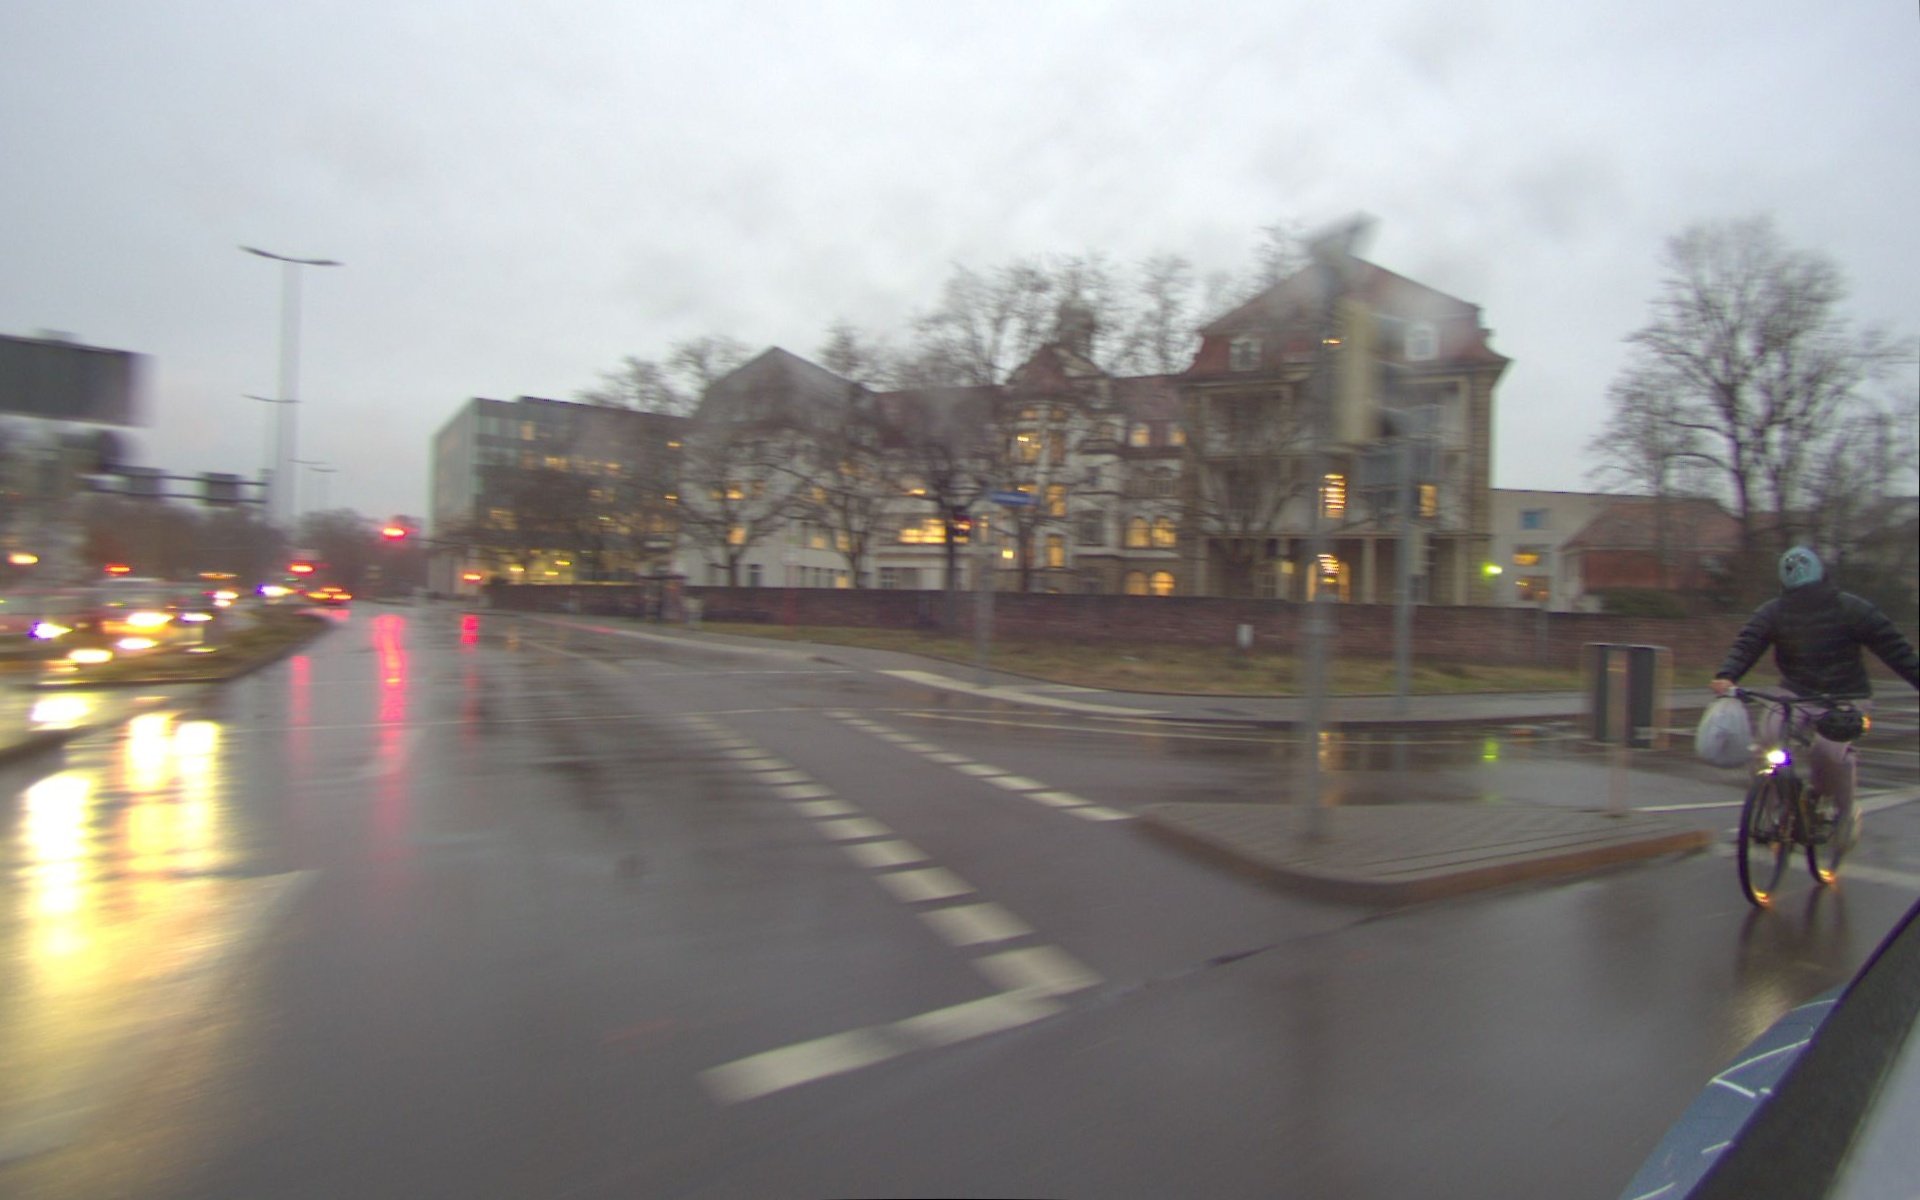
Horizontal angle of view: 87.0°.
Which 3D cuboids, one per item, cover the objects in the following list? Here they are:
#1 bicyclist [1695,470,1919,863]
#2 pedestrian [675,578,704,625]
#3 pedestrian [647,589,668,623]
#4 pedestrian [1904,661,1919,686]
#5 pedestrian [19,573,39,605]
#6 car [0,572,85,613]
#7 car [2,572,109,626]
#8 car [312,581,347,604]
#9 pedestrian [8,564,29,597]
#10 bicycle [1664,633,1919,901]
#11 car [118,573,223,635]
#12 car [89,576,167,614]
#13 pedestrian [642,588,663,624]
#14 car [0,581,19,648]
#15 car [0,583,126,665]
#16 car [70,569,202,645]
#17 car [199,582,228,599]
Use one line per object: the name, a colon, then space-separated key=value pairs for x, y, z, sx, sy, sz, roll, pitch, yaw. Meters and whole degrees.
bicyclist: x=4.951 y=0.318 z=5.606 sx=1.211 sy=1.907 sz=1.028 roll=0 pitch=0 yaw=-30
pedestrian: x=-10.887 y=0.067 z=40.745 sx=0.793 sy=1.853 sz=0.948 roll=2 pitch=0 yaw=-34
pedestrian: x=-16.631 y=0.319 z=55.590 sx=0.793 sy=1.853 sz=0.948 roll=2 pitch=0 yaw=-34
pedestrian: x=37.985 y=2.807 z=38.320 sx=3.069 sy=0.942 sz=0.939 roll=-1 pitch=-3 yaw=27
pedestrian: x=-60.546 y=-0.706 z=65.812 sx=0.751 sy=2.039 sz=0.774 roll=2 pitch=0 yaw=-31
car: x=-41.476 y=-0.365 z=45.849 sx=1.960 sy=1.688 sz=4.005 roll=2 pitch=0 yaw=-30
car: x=-31.942 y=-0.042 z=35.857 sx=1.960 sy=1.794 sz=4.005 roll=2 pitch=0 yaw=-29
car: x=-49.039 y=-0.581 z=78.732 sx=1.959 sy=1.588 sz=4.476 roll=4 pitch=-2 yaw=-29
pedestrian: x=-53.537 y=-1.119 z=57.536 sx=0.611 sy=1.823 sz=0.939 roll=2 pitch=-1 yaw=-28
bicycle: x=4.914 y=0.833 z=5.687 sx=1.865 sy=1.238 sz=0.796 roll=0 pitch=0 yaw=-27
car: x=-24.666 y=0.081 z=31.776 sx=1.960 sy=1.771 sz=4.476 roll=1 pitch=1 yaw=-30
car: x=-38.663 y=-0.272 z=47.167 sx=1.960 sy=1.587 sz=4.767 roll=3 pitch=0 yaw=-30
pedestrian: x=-16.435 y=0.324 z=54.055 sx=0.793 sy=1.853 sz=0.948 roll=2 pitch=0 yaw=-34
car: x=-28.369 y=0.397 z=28.352 sx=1.959 sy=1.928 sz=4.005 roll=2 pitch=0 yaw=-29
car: x=-18.225 y=0.418 z=20.007 sx=1.893 sy=1.393 sz=4.504 roll=2 pitch=0 yaw=-30
car: x=-21.967 y=0.143 z=27.176 sx=1.960 sy=1.772 sz=4.476 roll=4 pitch=-1 yaw=-30
car: x=-83.456 y=-1.088 z=113.168 sx=2.100 sy=1.839 sz=4.004 roll=2 pitch=0 yaw=-30
